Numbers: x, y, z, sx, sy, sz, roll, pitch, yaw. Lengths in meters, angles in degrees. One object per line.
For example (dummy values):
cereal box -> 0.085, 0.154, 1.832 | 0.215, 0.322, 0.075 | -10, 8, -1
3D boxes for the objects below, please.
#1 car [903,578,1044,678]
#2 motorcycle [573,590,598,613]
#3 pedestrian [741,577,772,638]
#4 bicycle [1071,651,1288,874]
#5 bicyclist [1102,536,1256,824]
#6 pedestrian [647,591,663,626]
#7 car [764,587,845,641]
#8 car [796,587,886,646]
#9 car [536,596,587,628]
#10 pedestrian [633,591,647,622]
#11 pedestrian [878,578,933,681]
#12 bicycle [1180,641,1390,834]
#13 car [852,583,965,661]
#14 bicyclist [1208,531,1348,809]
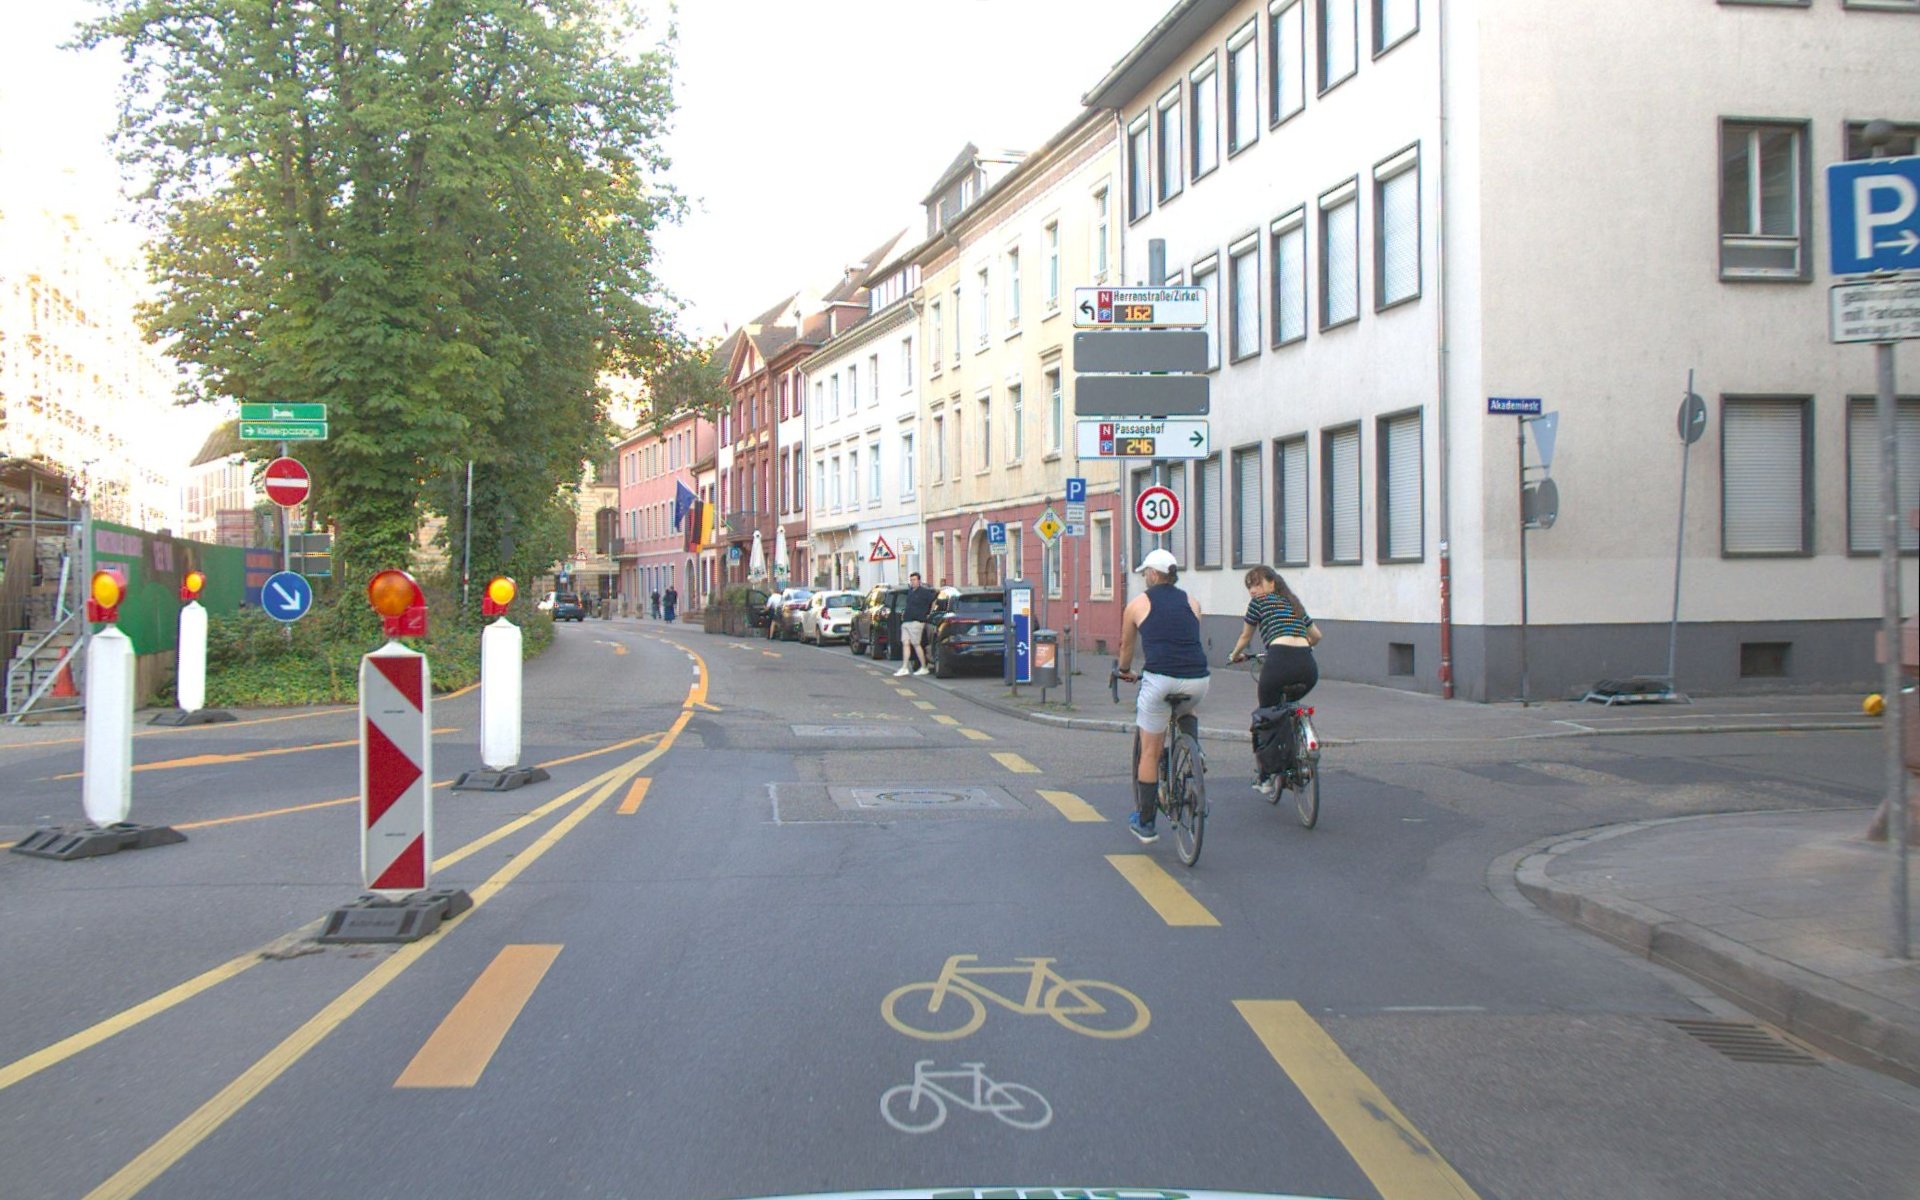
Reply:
car -> 0.180, 0.472, 30.837 | 1.781, 1.712, 3.907 | 0, 0, -13
motorcycle -> -21.189, 0.089, 93.531 | 1.026, 1.270, 2.383 | -1, 0, -21
pedestrian -> -6.323, 0.233, 51.430 | 0.814, 1.876, 0.958 | 0, 1, 0
bicycle -> 1.221, 0.880, 9.616 | 0.658, 1.089, 1.896 | 1, 0, -12
bicyclist -> 1.249, 0.446, 9.535 | 0.657, 1.593, 0.696 | 1, 0, -11
pedestrian -> -16.026, 0.439, 86.987 | 0.738, 1.793, 0.582 | 0, 0, -19
car -> -4.816, 0.395, 50.884 | 1.783, 1.587, 3.848 | 0, 0, -16
car -> -3.409, 0.436, 46.725 | 1.783, 1.587, 3.848 | 0, 0, -16
car -> -20.576, 0.603, 85.374 | 1.790, 1.587, 3.832 | -1, 0, -26
pedestrian -> -17.020, 0.342, 87.910 | 0.657, 1.609, 0.582 | 0, 0, -19
pedestrian -> -1.030, 0.545, 31.271 | 0.884, 1.898, 0.929 | 0, 0, -13
bicycle -> 2.128, 0.867, 11.164 | 0.641, 1.089, 2.253 | 1, 0, -9
car -> -1.261, 0.475, 38.718 | 1.782, 1.713, 3.984 | 0, 0, -15
bicyclist -> 2.129, 0.451, 11.156 | 0.637, 1.791, 0.862 | 1, 0, -9
